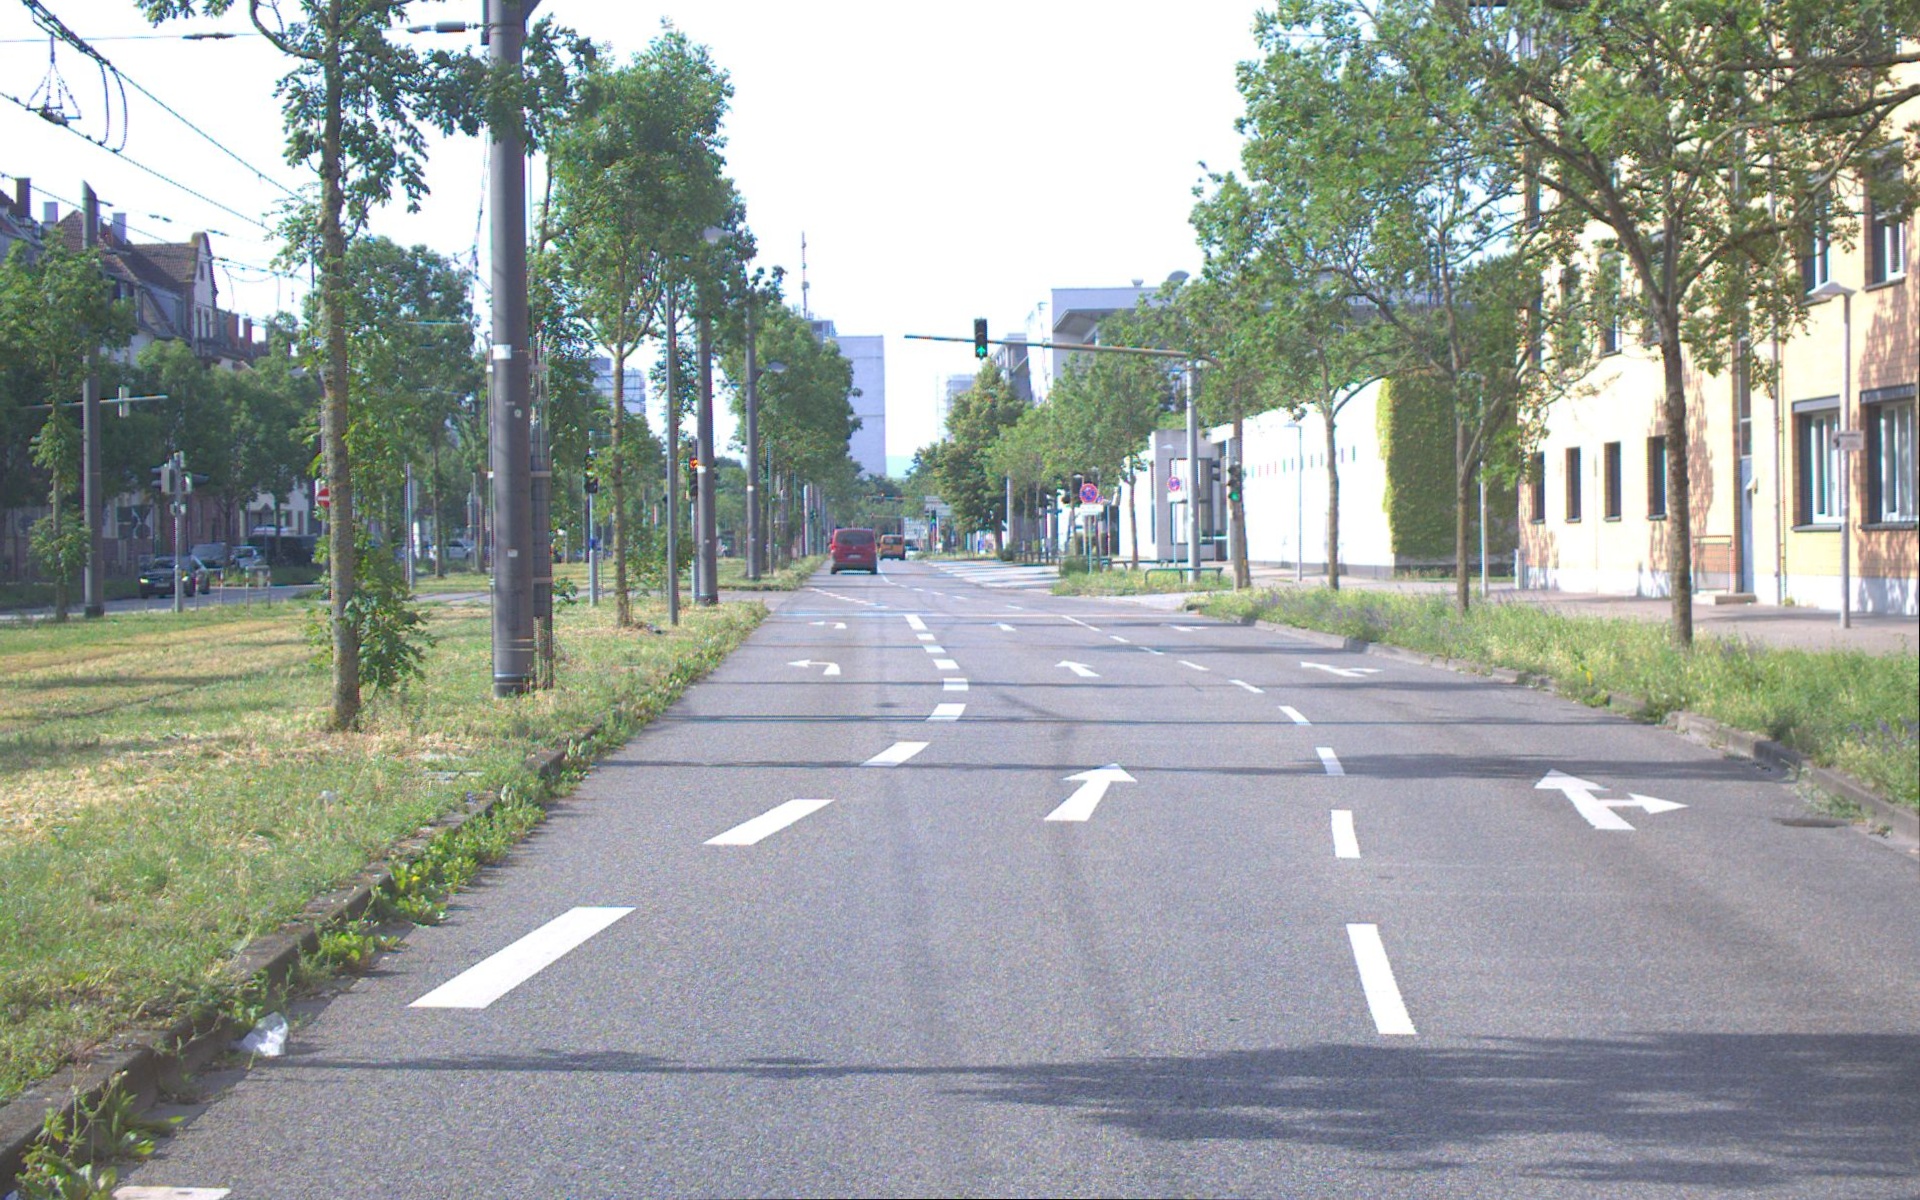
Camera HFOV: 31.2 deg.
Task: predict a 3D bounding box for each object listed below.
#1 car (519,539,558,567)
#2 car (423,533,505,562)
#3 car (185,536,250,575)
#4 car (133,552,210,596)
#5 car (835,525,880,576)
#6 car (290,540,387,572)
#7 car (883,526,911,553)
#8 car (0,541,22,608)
[{"bbox_3d":[-26.990,-3.010,220.475,1.965,1.688,4.297,1,1,0],"label":"car"},{"bbox_3d":[-32.586,-3.454,225.790,5.320,1.732,1.996,2,1,32],"label":"car"},{"bbox_3d":[-31.985,-1.925,148.223,1.993,1.623,4.776,1,1,-3],"label":"car"},{"bbox_3d":[-26.784,-0.886,116.872,1.812,1.428,3.926,1,1,-2],"label":"car"},{"bbox_3d":[-4.156,-2.013,139.597,1.748,2.007,3.216,1,0,-1],"label":"car"},{"bbox_3d":[-29.726,-2.092,164.388,4.471,1.414,1.971,2,1,36],"label":"car"},{"bbox_3d":[-4.139,-3.962,225.499,1.748,1.645,3.216,1,1,-1],"label":"car"},{"bbox_3d":[-24.390,-0.640,84.280,1.764,1.650,4.000,1,1,-1],"label":"car"}]
